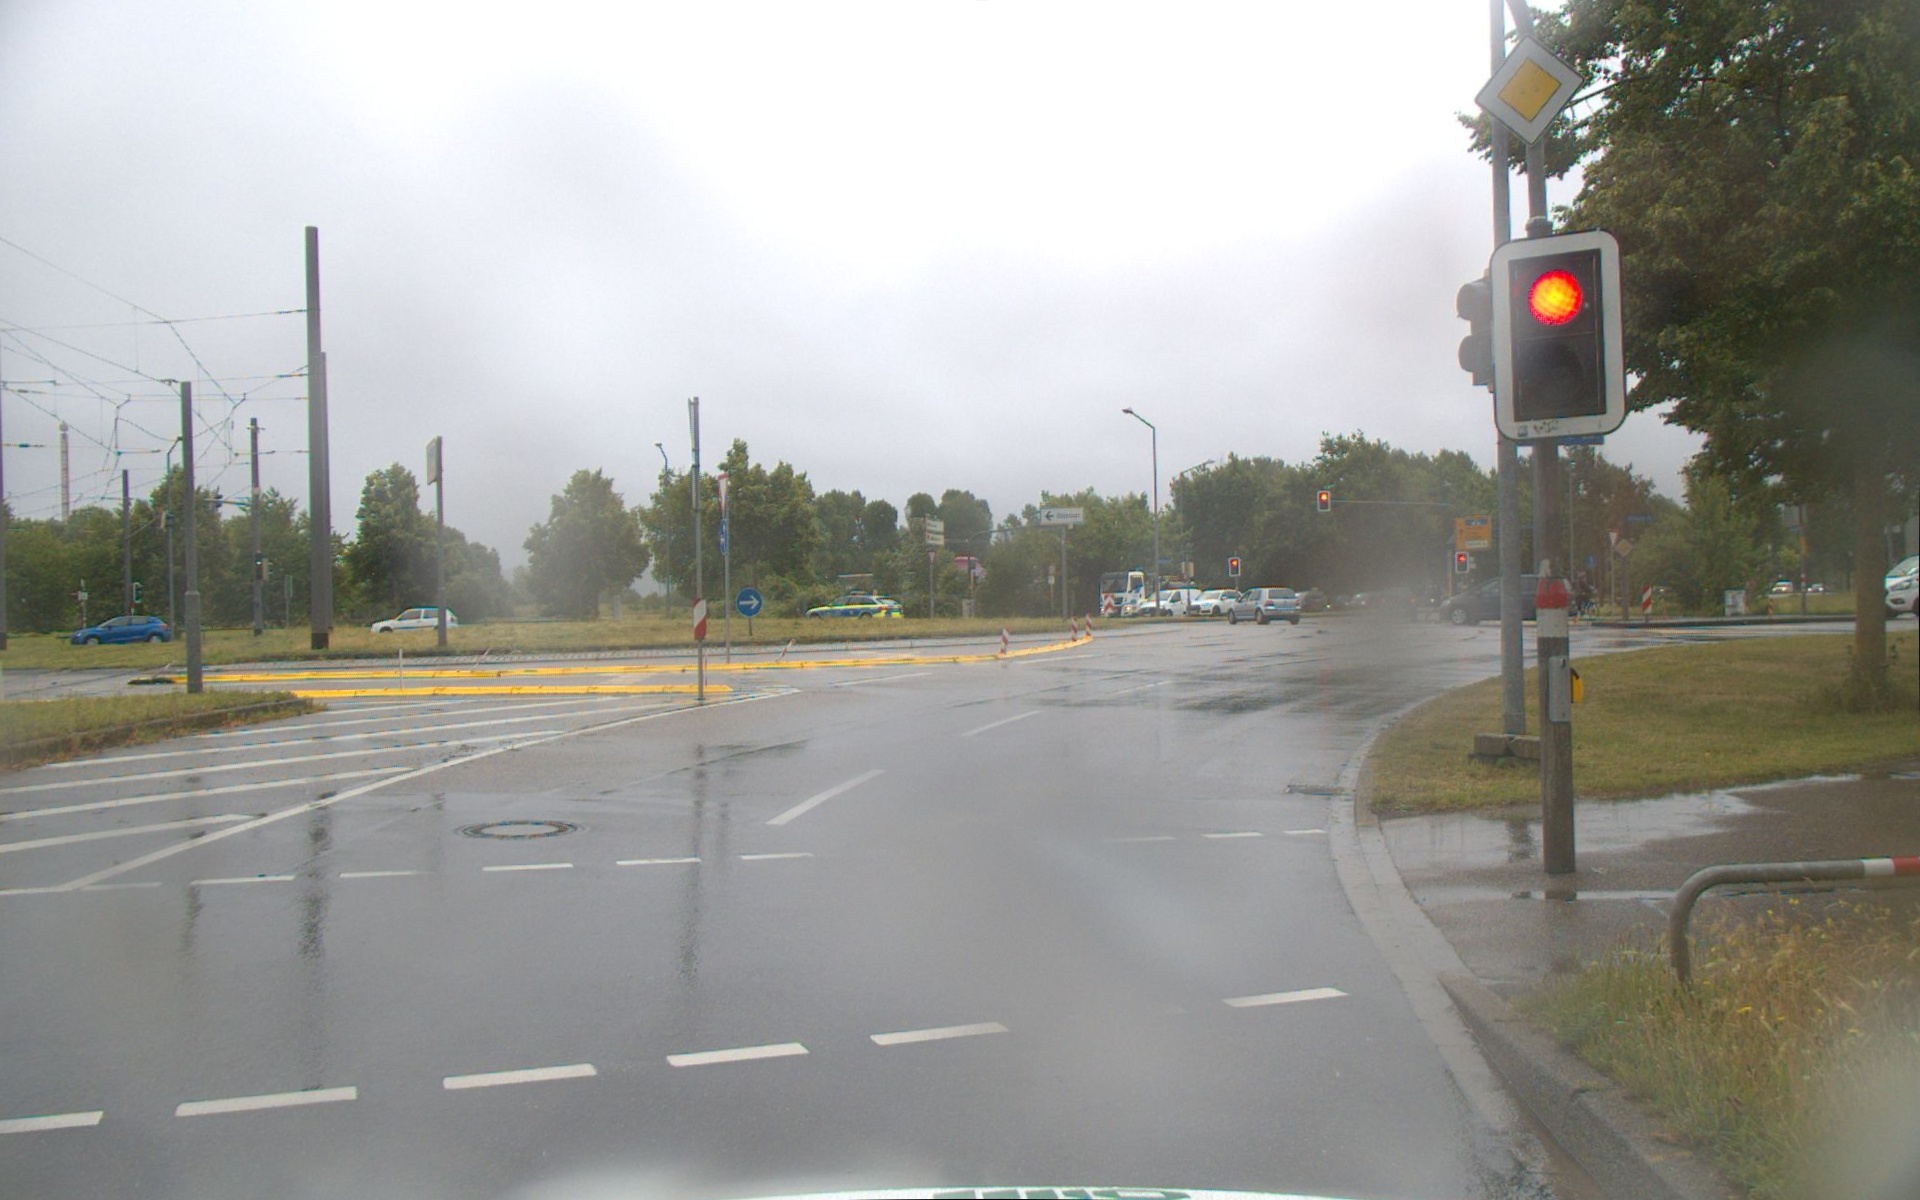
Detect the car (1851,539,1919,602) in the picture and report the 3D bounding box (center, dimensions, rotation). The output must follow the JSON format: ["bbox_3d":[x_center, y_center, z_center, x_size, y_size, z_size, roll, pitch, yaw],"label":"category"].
[{"bbox_3d":[31.198,-0.889,52.582,4.664,1.884,1.999,1,-1,-2],"label":"car"}]

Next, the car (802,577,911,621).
[{"bbox_3d":[-4.664,-0.027,74.426,4.677,1.883,1.994,-1,0,34],"label":"car"}]

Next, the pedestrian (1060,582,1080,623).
[{"bbox_3d":[3.627,0.090,54.365,0.445,1.327,0.484,-1,0,38],"label":"pedestrian"}]

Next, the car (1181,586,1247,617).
[{"bbox_3d":[14.591,0.104,94.819,1.769,1.691,4.386,0,-1,40],"label":"car"}]

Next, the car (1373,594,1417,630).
[{"bbox_3d":[18.725,0.497,71.303,1.583,1.479,3.991,-1,0,11],"label":"car"}]

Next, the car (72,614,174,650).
[{"bbox_3d":[-37.644,1.416,74.433,3.940,1.479,1.604,-1,0,-35],"label":"car"}]

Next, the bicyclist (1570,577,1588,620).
[{"bbox_3d":[26.119,-0.063,69.830,0.485,1.772,0.590,1,-1,-7],"label":"bicyclist"}]

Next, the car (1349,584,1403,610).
[{"bbox_3d":[27.817,-0.222,110.440,1.769,1.691,4.386,-1,0,40],"label":"car"}]

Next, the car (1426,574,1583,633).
[{"bbox_3d":[18.240,0.102,55.467,4.673,1.884,1.995,1,-1,32],"label":"car"}]

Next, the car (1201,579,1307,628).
[{"bbox_3d":[11.741,0.157,66.381,1.966,1.884,4.743,1,-1,-22],"label":"car"}]

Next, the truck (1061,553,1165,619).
[{"bbox_3d":[6.965,-0.549,74.217,2.411,2.733,8.058,1,-1,22],"label":"truck"}]

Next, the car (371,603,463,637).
[{"bbox_3d":[-25.503,0.927,77.837,3.903,1.479,1.619,-1,0,-11],"label":"car"}]

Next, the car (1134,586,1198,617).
[{"bbox_3d":[12.040,0.077,96.452,1.769,1.691,4.112,0,-1,40],"label":"car"}]
